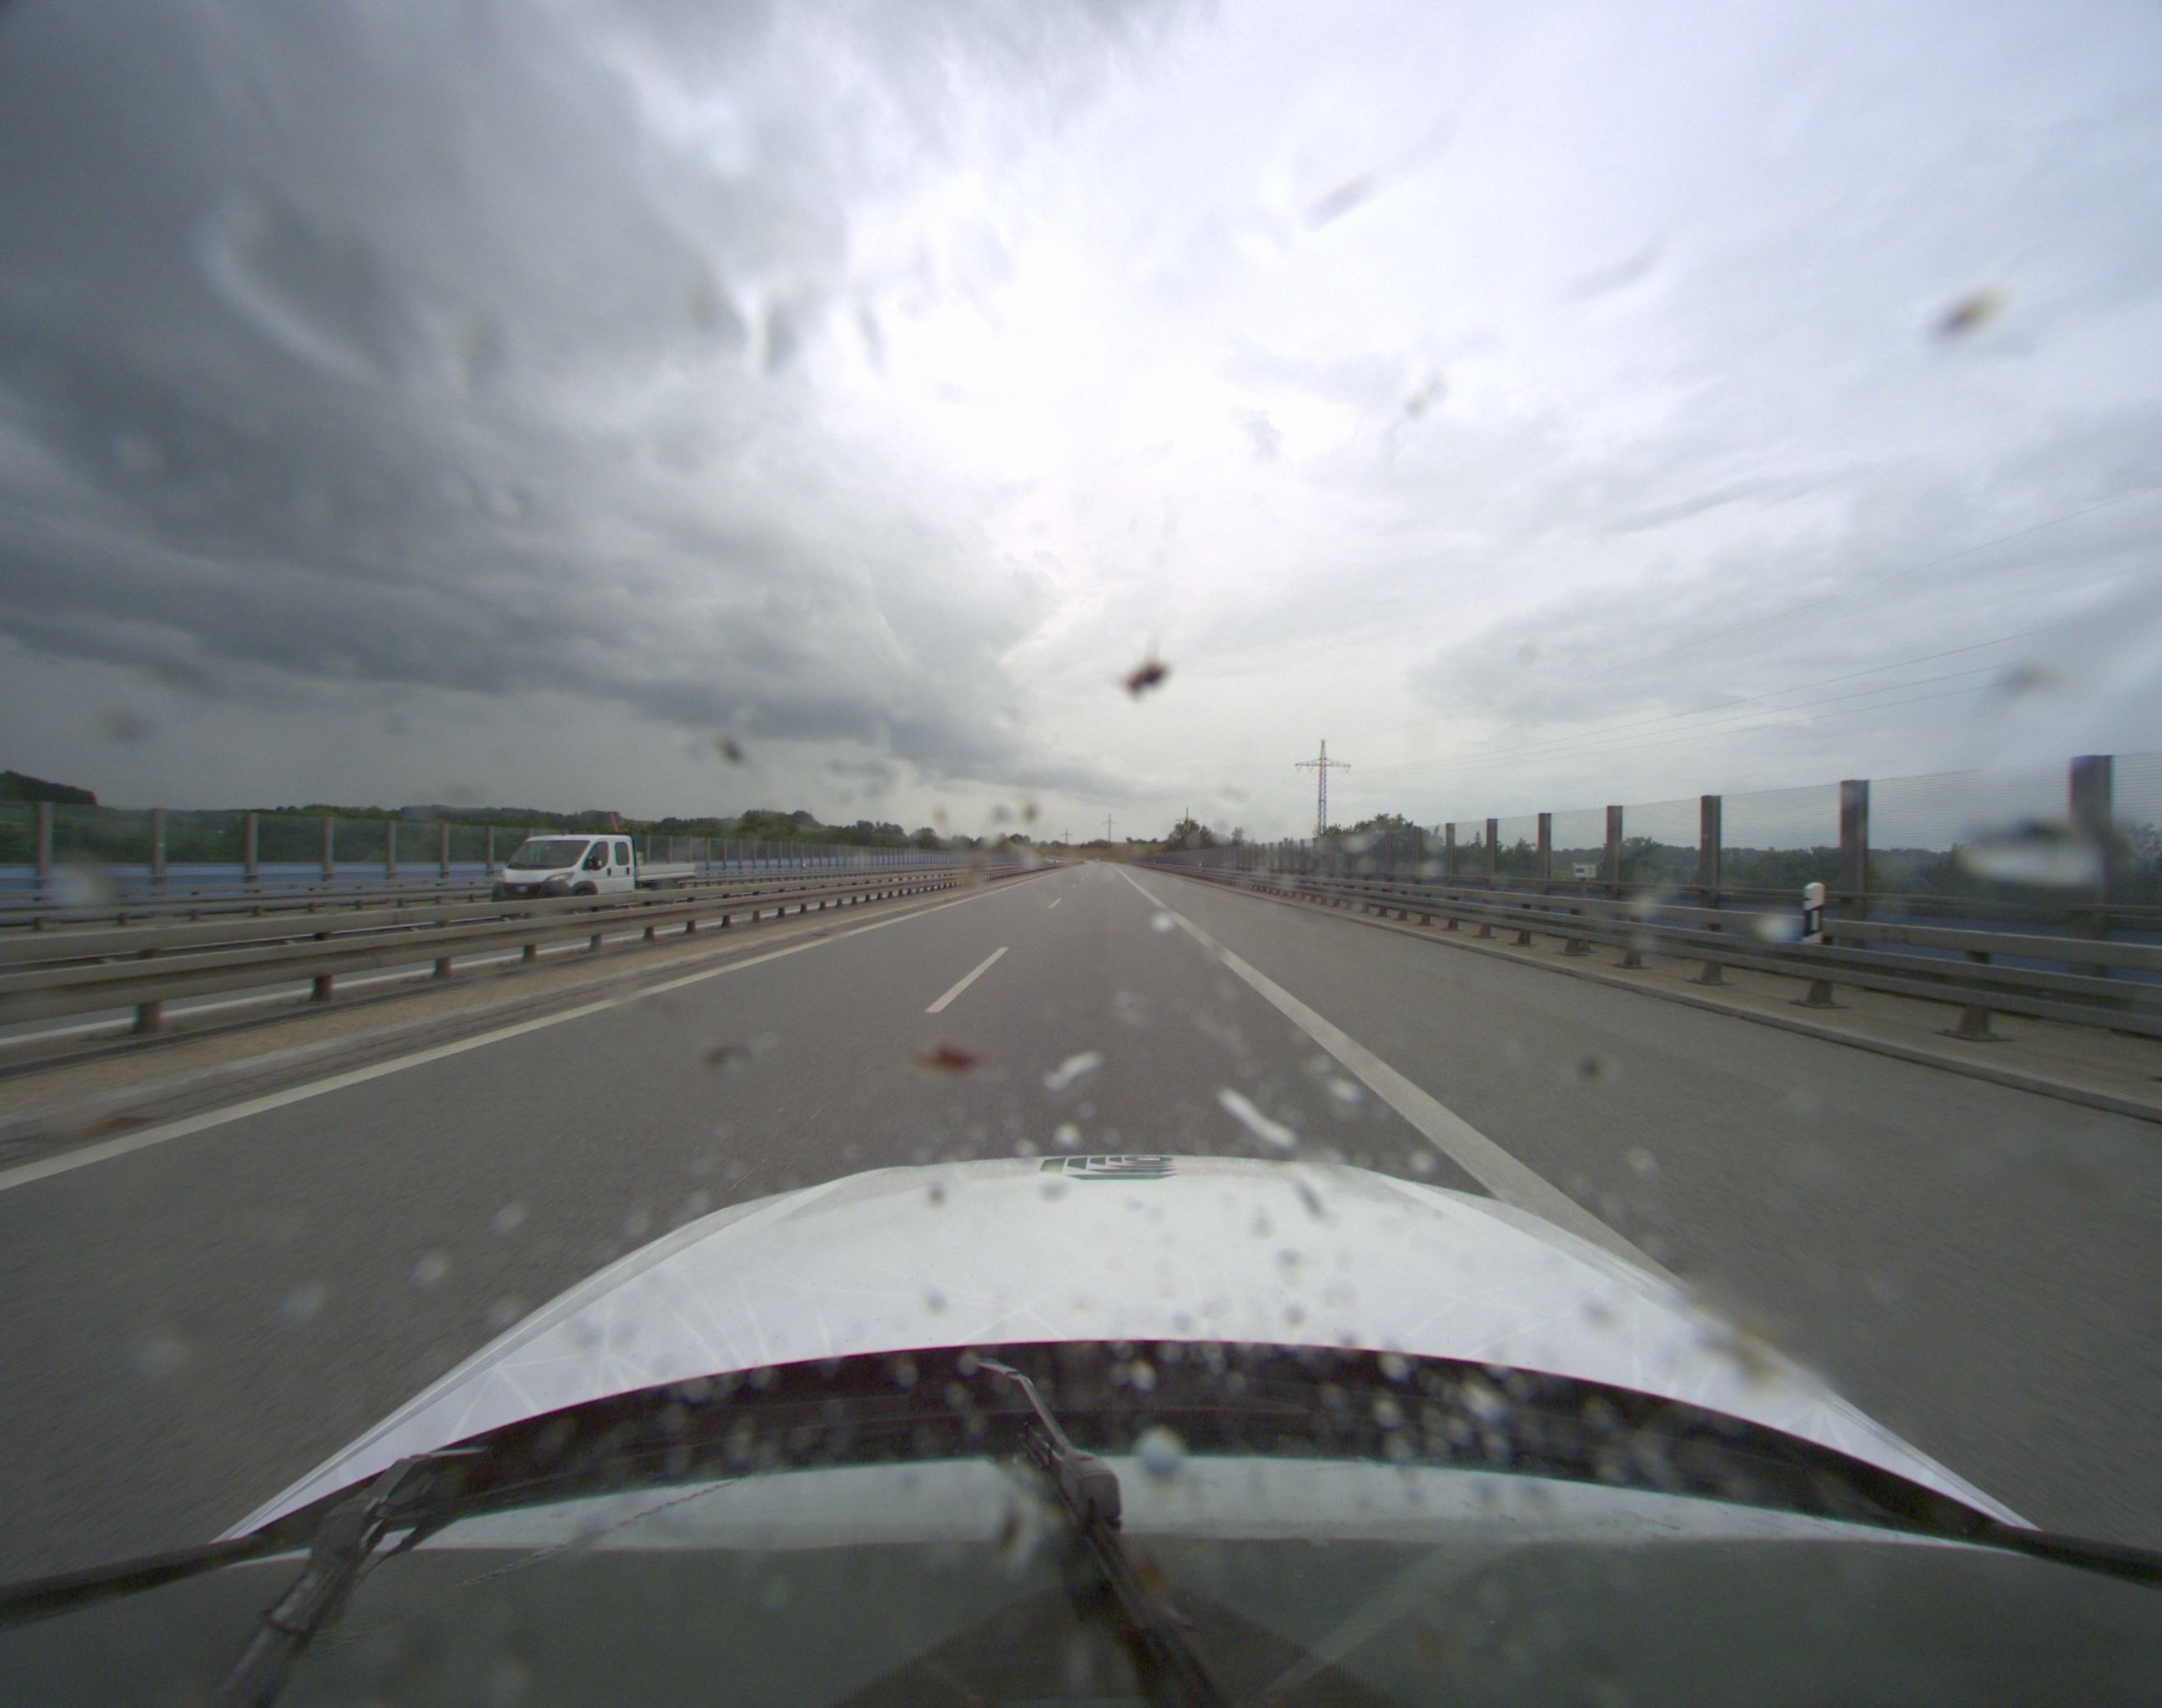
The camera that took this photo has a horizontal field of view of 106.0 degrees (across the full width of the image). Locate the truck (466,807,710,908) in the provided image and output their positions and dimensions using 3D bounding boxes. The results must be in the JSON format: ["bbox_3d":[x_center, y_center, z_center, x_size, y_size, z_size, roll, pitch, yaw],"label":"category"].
[{"bbox_3d":[-13.584,0.105,23.365,2.264,2.431,7.454,0,0,2],"label":"truck"}]

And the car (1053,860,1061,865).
[{"bbox_3d":[-7.113,2.533,242.193,1.986,1.515,4.289,0,0,2],"label":"car"}]
